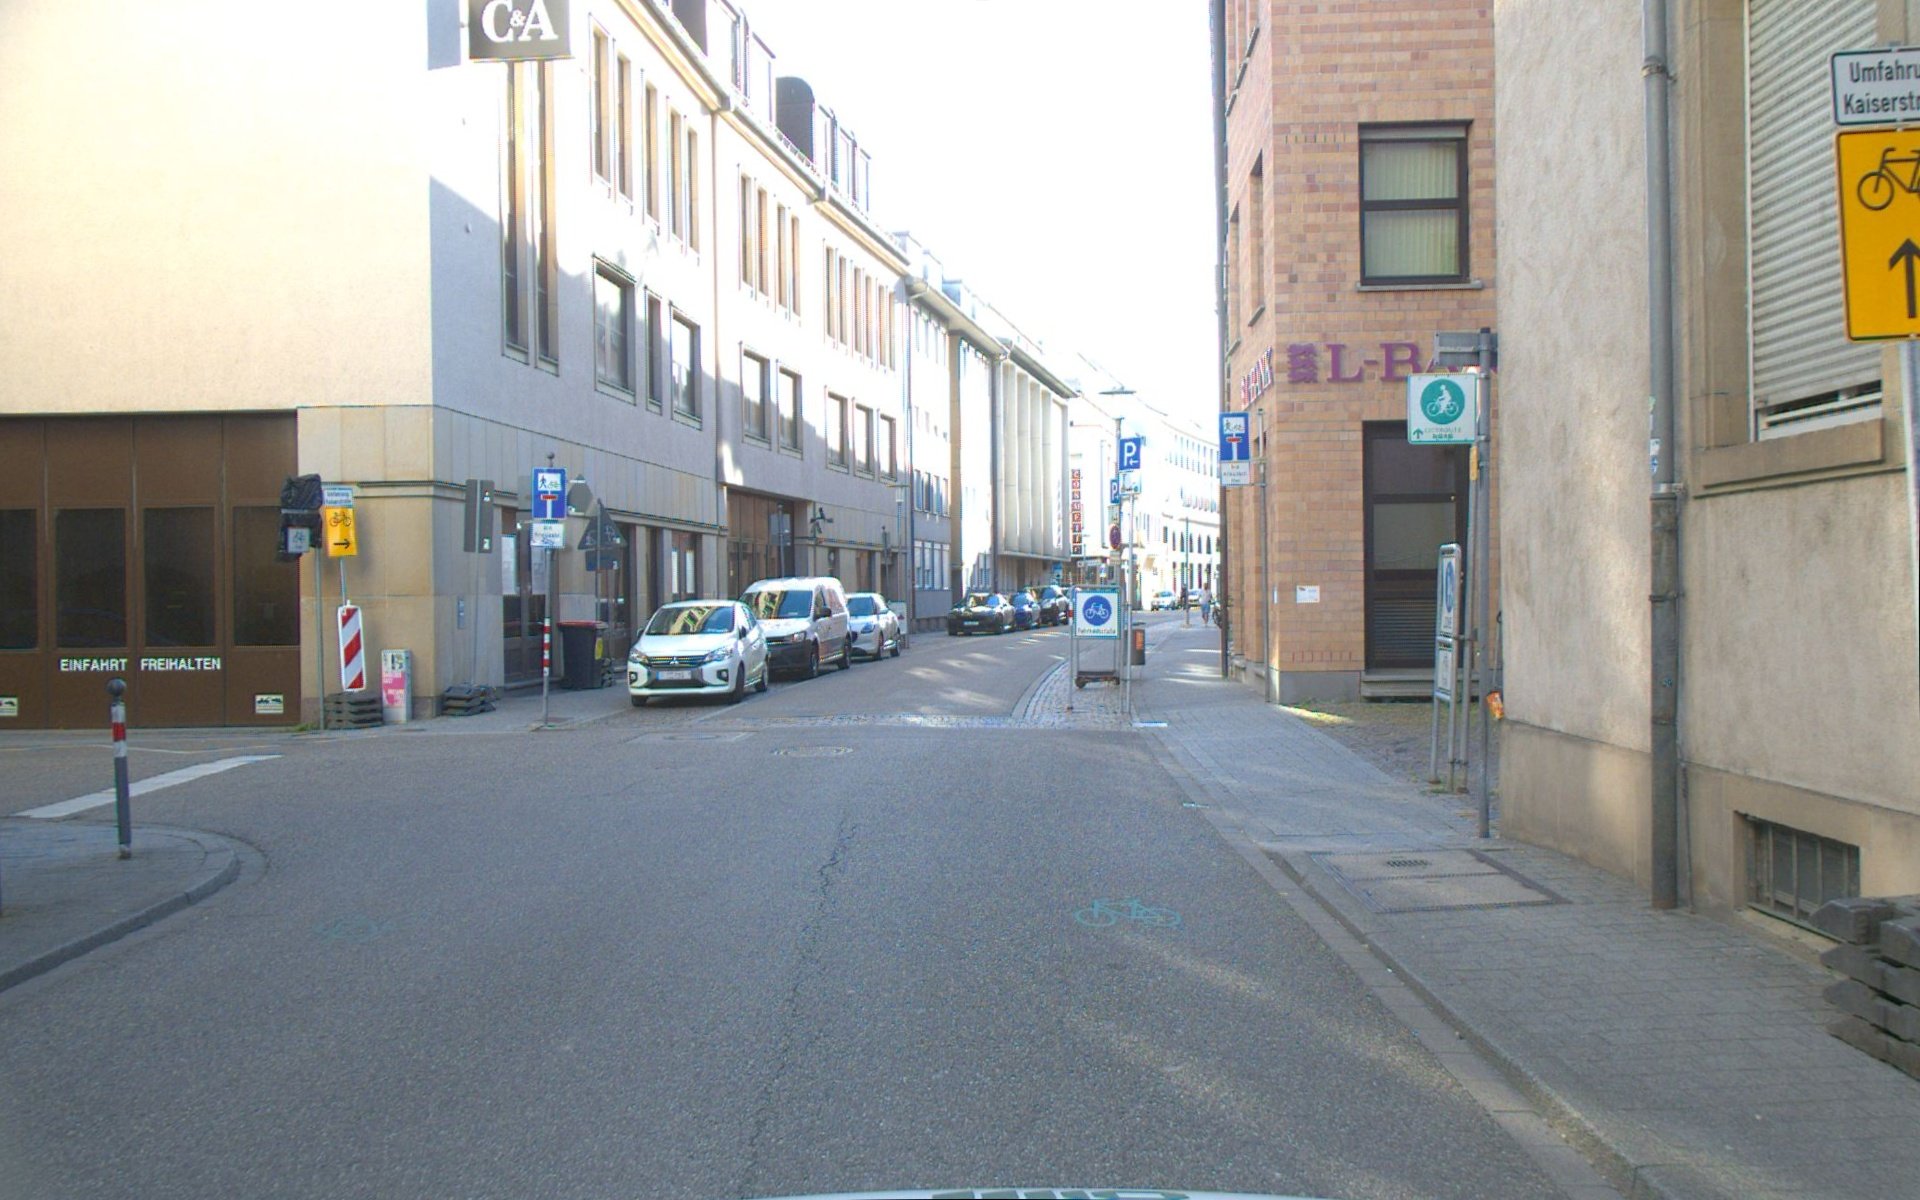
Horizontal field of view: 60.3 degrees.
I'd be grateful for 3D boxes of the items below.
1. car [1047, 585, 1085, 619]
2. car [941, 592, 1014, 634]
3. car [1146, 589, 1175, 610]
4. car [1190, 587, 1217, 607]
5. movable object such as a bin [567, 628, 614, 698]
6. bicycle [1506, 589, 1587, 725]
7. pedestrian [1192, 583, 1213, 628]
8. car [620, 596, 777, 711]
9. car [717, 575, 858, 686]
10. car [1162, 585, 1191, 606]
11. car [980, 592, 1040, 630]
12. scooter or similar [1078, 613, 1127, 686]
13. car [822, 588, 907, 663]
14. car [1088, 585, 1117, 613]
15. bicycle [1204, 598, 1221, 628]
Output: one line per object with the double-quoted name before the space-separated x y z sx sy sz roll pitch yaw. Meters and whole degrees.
"car" 4.965 0.082 77.216 1.310 1.520 3.513 -1 0 11
"car" 0.666 0.424 57.738 1.841 1.355 4.104 -1 0 11
"car" 14.469 -0.052 119.125 1.653 1.394 3.621 -2 0 13
"car" 17.895 -0.256 121.652 1.653 1.394 3.621 -2 0 13
"movable object such as a bin" -5.896 0.994 26.419 0.596 1.079 0.713 1 0 -2
"bicycle" 6.153 0.567 17.409 0.538 1.340 1.649 -2 0 12
"pedestrian" 9.589 0.212 65.446 0.651 1.761 0.840 1 0 0
"car" -3.902 0.752 25.244 1.636 1.533 3.794 -3 0 1
"car" -3.151 0.510 31.102 1.635 1.850 4.555 -3 0 6
"car" 15.084 -0.298 115.316 1.653 1.394 3.621 -2 0 13
"car" 1.953 0.394 63.962 1.687 1.364 4.004 -2 0 11
"scooter or similar" 2.291 0.789 26.560 0.754 1.156 0.269 1 0 3
"car" -2.120 0.537 37.277 1.244 1.533 3.404 -3 0 7
"car" 8.158 -0.063 94.580 1.310 1.520 3.350 -1 0 11
"bicycle" 8.943 0.444 58.663 0.500 1.011 2.650 -1 0 7
